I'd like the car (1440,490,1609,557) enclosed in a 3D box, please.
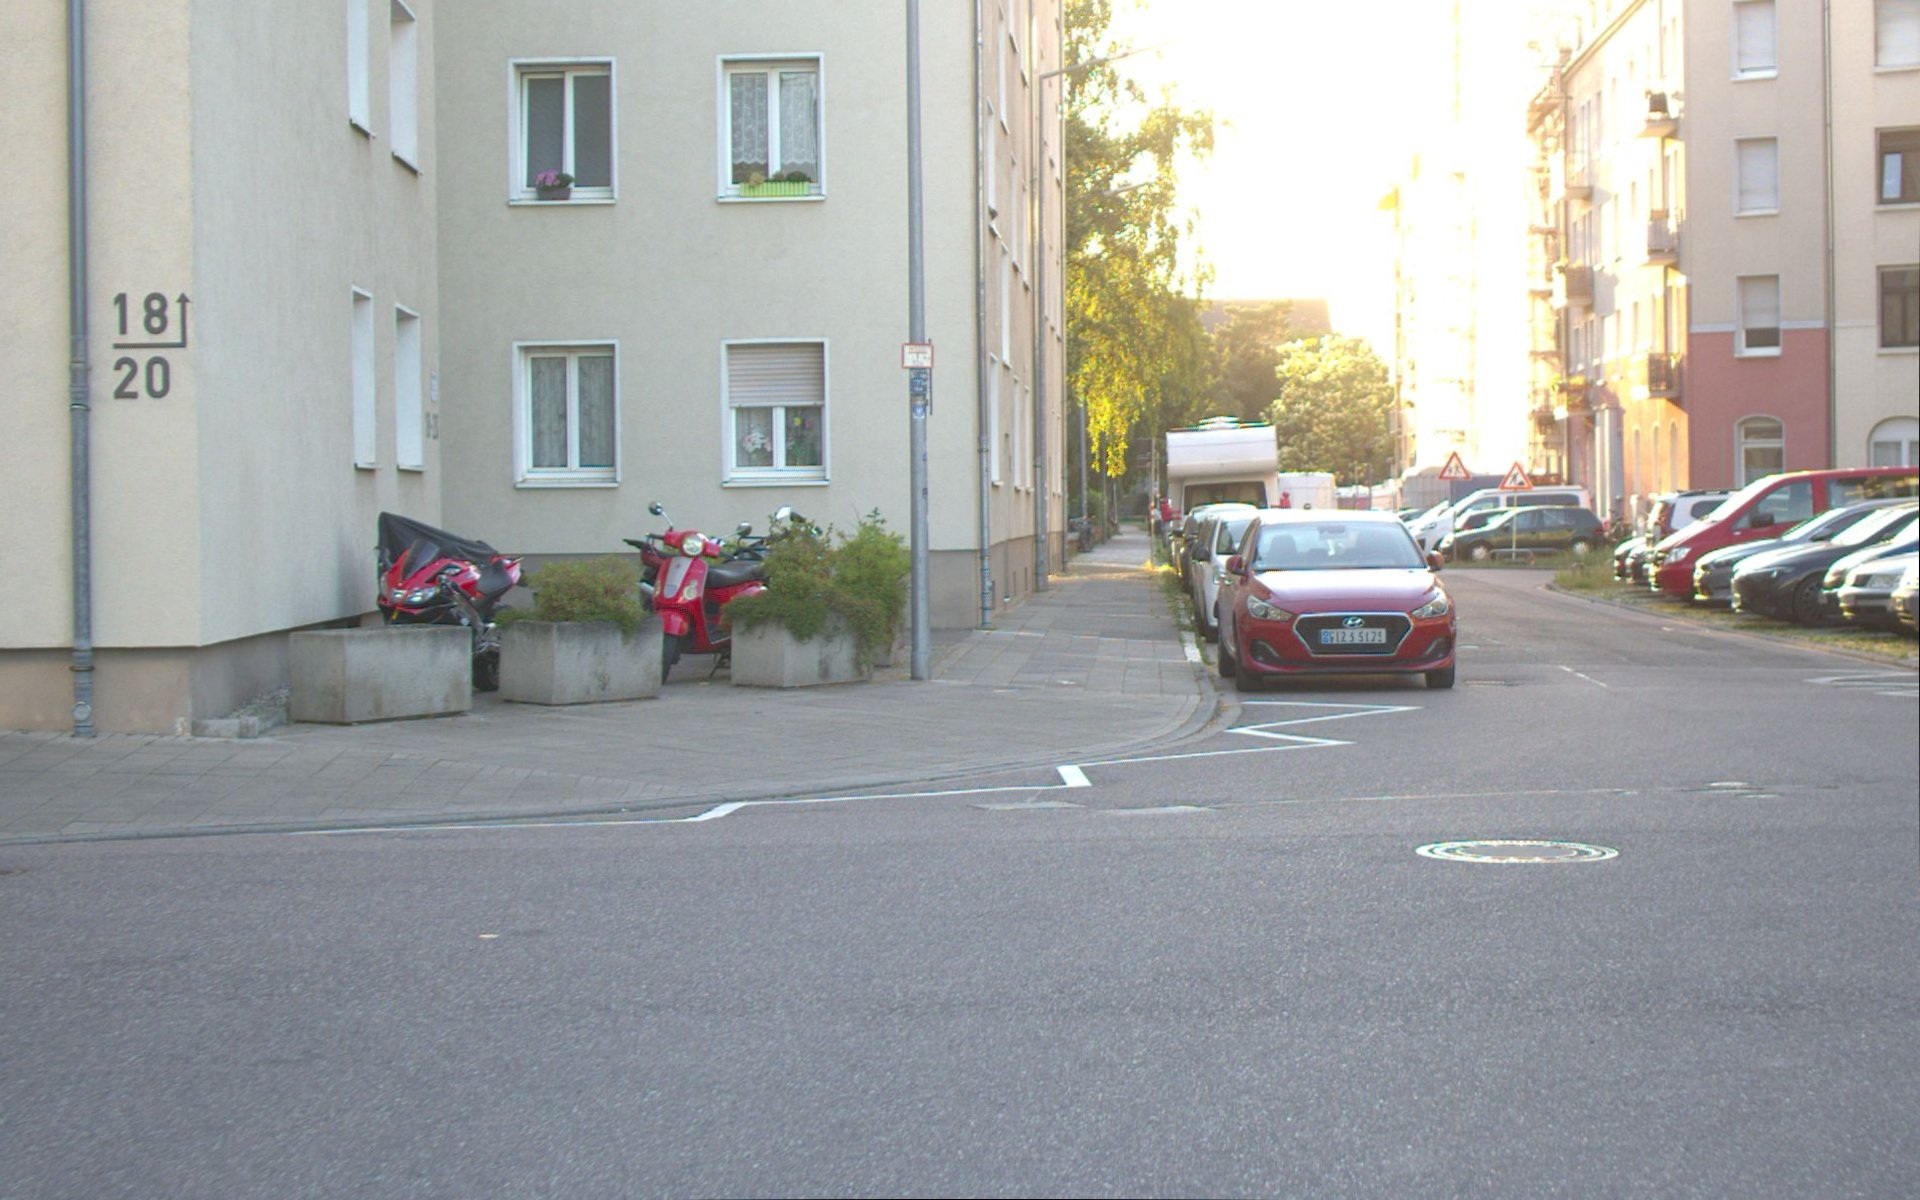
[{"bbox_3d":[14.103,-1.922,86.043,3.987,1.525,1.659,-2,1,3],"label":"car"}]

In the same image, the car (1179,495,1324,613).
[{"bbox_3d":[3.812,-0.628,45.439,1.659,1.430,4.031,-2,1,2],"label":"car"}]

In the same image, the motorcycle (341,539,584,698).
[{"bbox_3d":[-3.558,0.108,24.792,0.724,1.075,2.078,0,2,24],"label":"motorcycle"}]

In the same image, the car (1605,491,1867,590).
[{"bbox_3d":[12.392,-0.960,55.049,3.812,1.423,1.634,-2,1,3],"label":"car"}]

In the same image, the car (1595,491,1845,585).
[{"bbox_3d":[12.692,-1.039,57.553,3.812,1.423,1.634,-2,1,3],"label":"car"}]

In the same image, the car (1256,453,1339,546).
[{"bbox_3d":[10.326,-3.080,105.362,2.129,2.708,4.833,-2,1,2],"label":"car"}]

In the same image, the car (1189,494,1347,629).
[{"bbox_3d":[3.592,-0.477,40.595,1.616,1.468,3.505,-2,1,2],"label":"car"}]

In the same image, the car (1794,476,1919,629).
[{"bbox_3d":[11.732,-0.601,39.717,3.791,1.689,1.655,-2,1,4],"label":"car"}]

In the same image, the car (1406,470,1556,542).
[{"bbox_3d":[14.975,-2.698,98.984,3.987,2.007,2.000,-1,1,0],"label":"car"}]

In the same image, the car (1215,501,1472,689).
[{"bbox_3d":[3.183,-0.089,29.228,1.845,1.468,4.078,-1,1,2],"label":"car"}]

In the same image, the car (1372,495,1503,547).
[{"bbox_3d":[15.247,-2.533,109.973,3.987,1.525,1.659,-2,1,3],"label":"car"}]

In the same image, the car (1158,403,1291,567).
[{"bbox_3d":[5.675,-2.459,74.378,2.620,3.257,7.696,-2,1,4],"label":"car"}]

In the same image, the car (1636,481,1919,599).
[{"bbox_3d":[12.693,-0.924,52.620,4.324,1.632,1.818,-2,1,3],"label":"car"}]

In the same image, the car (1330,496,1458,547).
[{"bbox_3d":[14.193,-2.578,112.542,3.987,1.525,1.659,-2,1,3],"label":"car"}]

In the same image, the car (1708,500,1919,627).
[{"bbox_3d":[11.430,-0.486,41.846,4.309,1.444,1.655,-2,1,4],"label":"car"}]

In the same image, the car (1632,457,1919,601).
[{"bbox_3d":[12.271,-1.042,49.702,4.722,1.903,2.059,-2,1,3],"label":"car"}]

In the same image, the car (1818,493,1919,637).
[{"bbox_3d":[11.513,-0.420,37.406,3.956,1.517,1.706,-1,1,4],"label":"car"}]

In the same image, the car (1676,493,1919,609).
[{"bbox_3d":[12.076,-0.693,47.178,4.145,1.466,1.636,-2,1,3],"label":"car"}]

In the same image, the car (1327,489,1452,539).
[{"bbox_3d":[14.297,-2.861,114.501,3.987,1.525,1.659,-2,1,3],"label":"car"}]

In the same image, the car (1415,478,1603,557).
[{"bbox_3d":[14.844,-2.230,93.055,4.813,1.961,1.739,-2,1,3],"label":"car"}]

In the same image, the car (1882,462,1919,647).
[{"bbox_3d":[11.808,-0.483,35.261,4.280,1.854,1.741,0,1,4],"label":"car"}]

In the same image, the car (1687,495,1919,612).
[{"bbox_3d":[11.645,-0.634,45.070,3.875,1.411,1.636,-2,1,2],"label":"car"}]

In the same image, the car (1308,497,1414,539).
[{"bbox_3d":[15.751,-3.231,135.175,3.987,1.525,1.659,-2,1,3],"label":"car"}]

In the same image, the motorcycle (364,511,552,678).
[{"bbox_3d":[-3.927,-0.069,27.078,0.724,1.260,2.080,0,2,14],"label":"motorcycle"}]

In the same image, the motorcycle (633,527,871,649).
[{"bbox_3d":[-1.920,-0.115,31.745,2.125,1.101,0.560,0,1,15],"label":"motorcycle"}]

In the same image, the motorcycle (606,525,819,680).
[{"bbox_3d":[-1.911,-0.004,26.919,0.689,1.156,2.031,0,2,28],"label":"motorcycle"}]

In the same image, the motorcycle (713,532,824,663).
[{"bbox_3d":[-1.627,-0.040,29.528,0.682,1.075,2.034,0,1,5],"label":"motorcycle"}]
